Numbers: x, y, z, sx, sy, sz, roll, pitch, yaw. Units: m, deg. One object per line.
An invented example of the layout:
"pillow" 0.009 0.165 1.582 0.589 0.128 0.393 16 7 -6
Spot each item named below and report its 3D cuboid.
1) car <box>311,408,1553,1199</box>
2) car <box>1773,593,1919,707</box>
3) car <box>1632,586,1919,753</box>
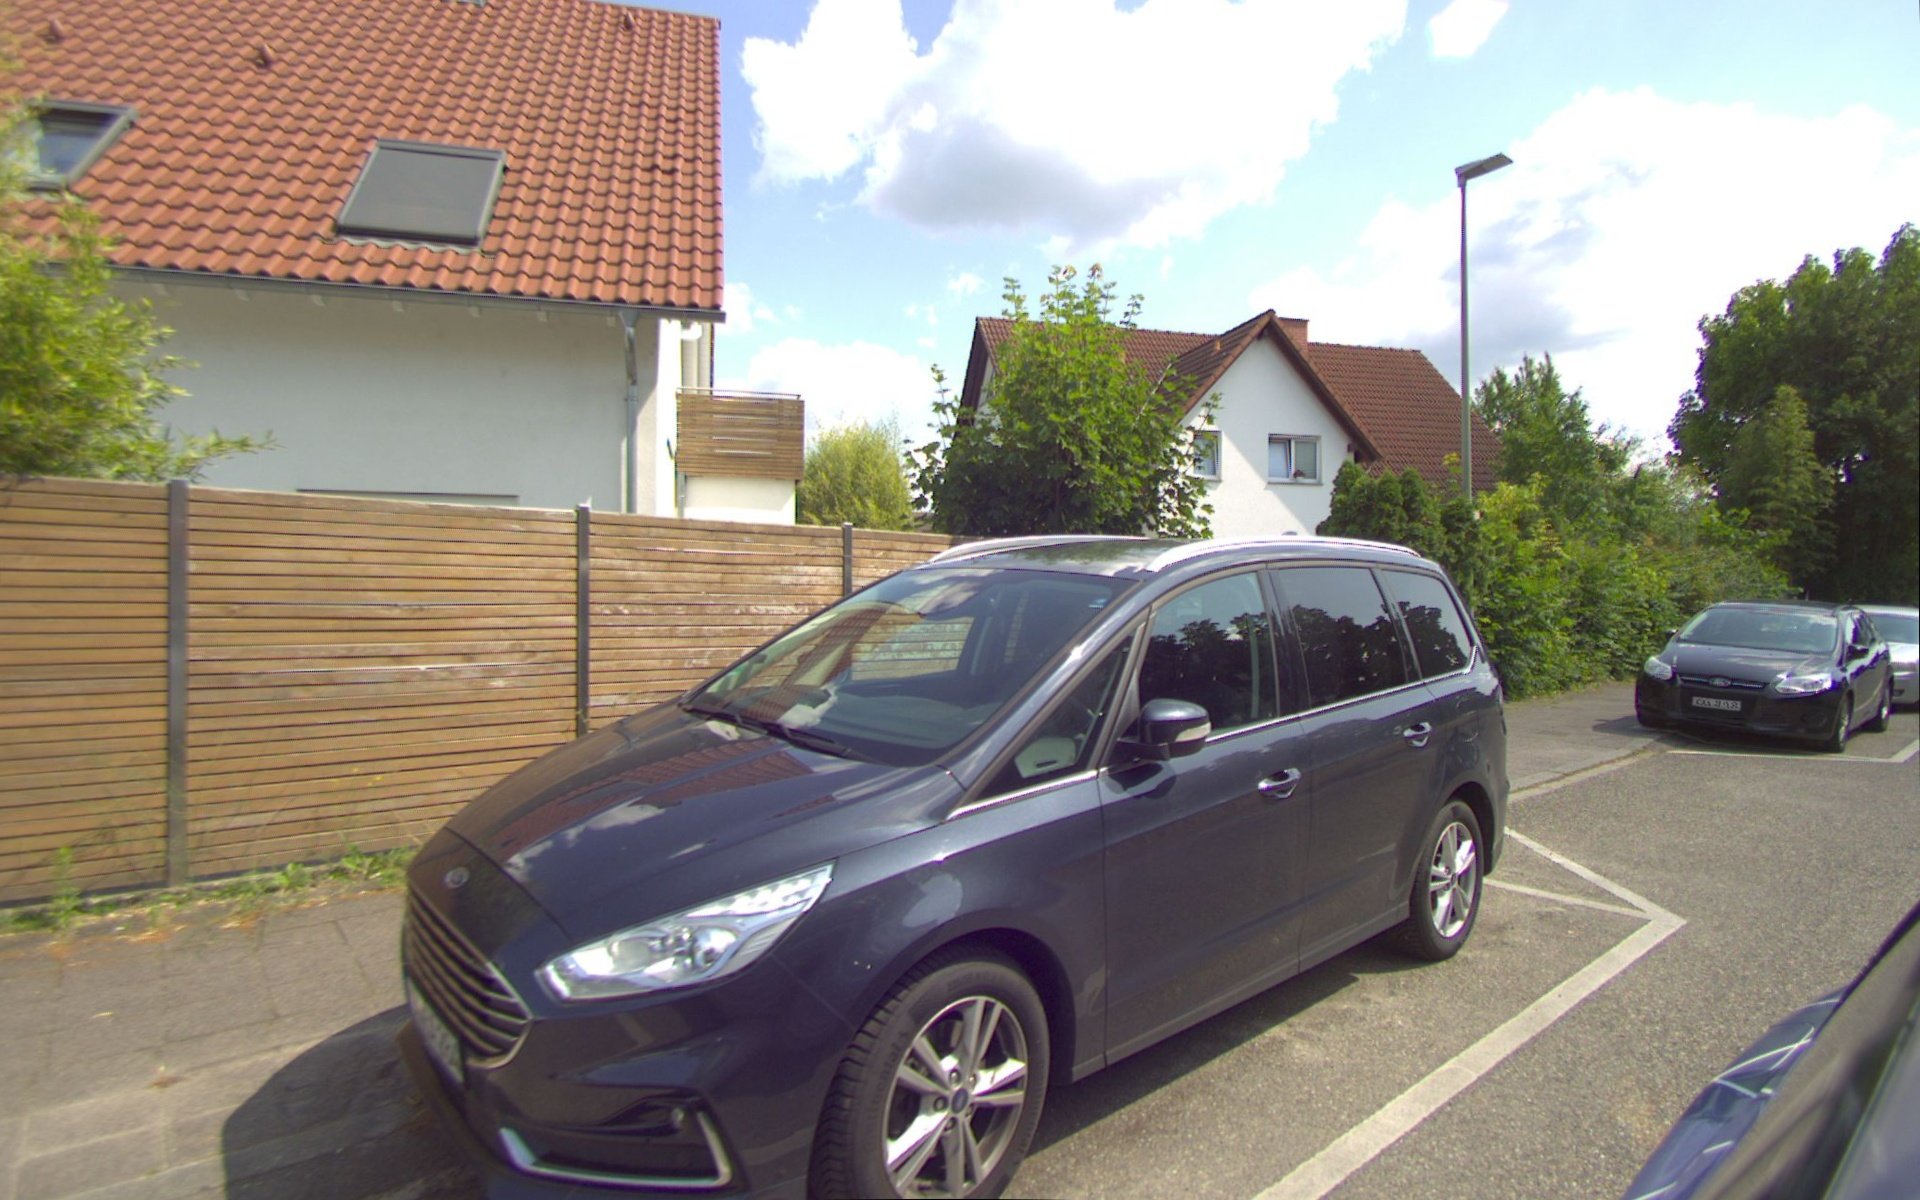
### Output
"car" 0.395 0.554 3.880 4.628 1.796 1.894 -1 0 -42
"car" 13.767 0.672 15.061 3.987 1.455 1.685 1 1 -38
"car" 9.335 0.622 11.467 4.220 1.524 1.731 -1 2 -40
